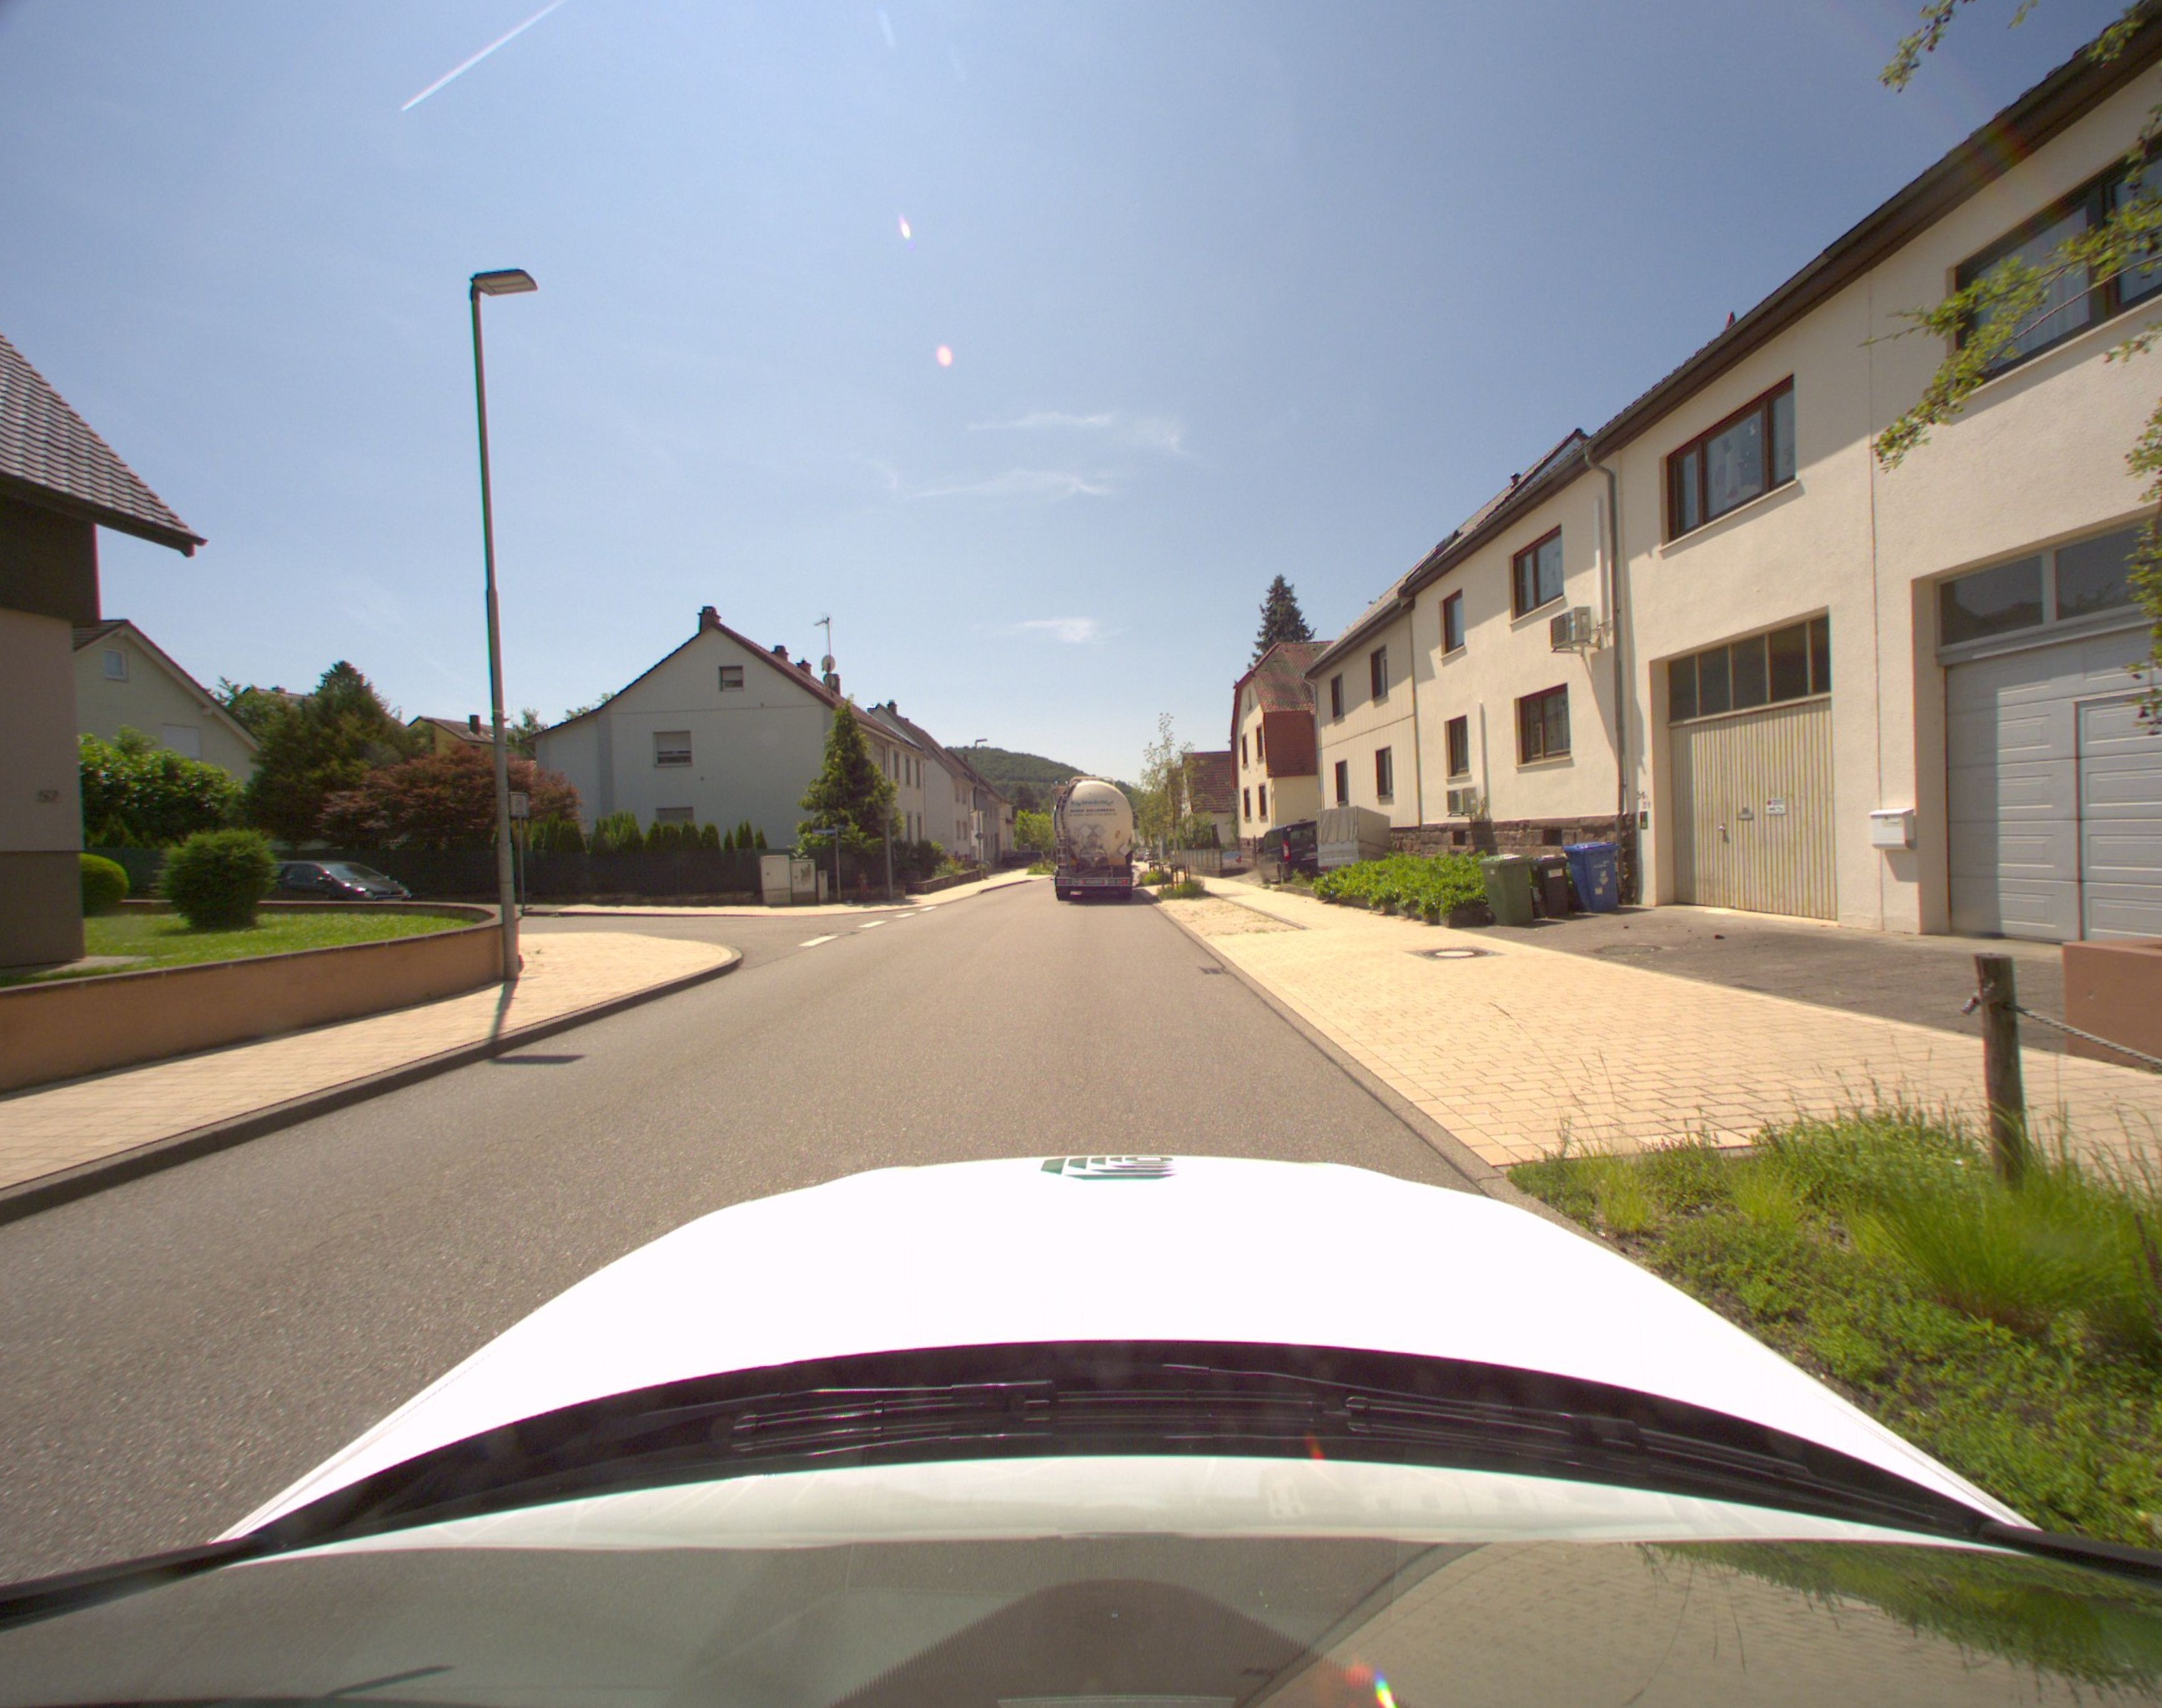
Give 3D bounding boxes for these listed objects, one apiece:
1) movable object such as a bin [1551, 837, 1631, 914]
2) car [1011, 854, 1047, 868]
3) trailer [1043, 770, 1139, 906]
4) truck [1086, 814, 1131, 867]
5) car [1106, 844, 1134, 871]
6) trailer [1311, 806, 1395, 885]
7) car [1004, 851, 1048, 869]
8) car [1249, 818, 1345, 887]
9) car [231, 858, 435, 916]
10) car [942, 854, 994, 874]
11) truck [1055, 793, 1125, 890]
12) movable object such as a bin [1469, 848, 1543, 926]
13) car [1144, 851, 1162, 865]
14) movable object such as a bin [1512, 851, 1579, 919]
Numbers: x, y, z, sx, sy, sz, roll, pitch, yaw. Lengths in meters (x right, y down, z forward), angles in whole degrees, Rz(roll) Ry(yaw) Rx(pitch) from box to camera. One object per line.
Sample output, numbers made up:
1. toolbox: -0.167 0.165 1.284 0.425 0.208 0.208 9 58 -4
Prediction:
1. movable object such as a bin: 7.987 0.330 12.798 0.681 1.106 0.864 -5 -1 7
2. car: -5.707 0.735 89.207 3.505 1.439 1.710 -2 0 35
3. trailer: 0.367 -0.469 29.616 2.786 4.001 10.324 -1 0 1
4. truck: 2.680 -1.255 83.223 3.899 4.895 9.791 -3 0 -1
5. car: 2.867 0.264 61.070 1.986 1.904 4.002 -1 0 2
6. trailer: 7.384 -0.222 22.042 1.308 2.013 2.287 -1 0 43
7. car: -5.758 0.574 85.098 4.380 1.750 1.878 -2 0 0
8. car: 6.995 -0.030 26.936 1.846 1.971 4.774 -4 0 1
9. car: -19.065 0.812 20.847 3.725 1.416 1.754 0 0 5
10. car: -9.193 0.779 66.432 3.973 1.545 1.833 -1 0 1
11. truck: 0.465 -0.501 36.580 2.798 3.937 6.101 -1 0 2
12. movable object such as a bin: 6.626 0.499 12.743 0.680 1.115 0.814 -6 -1 6
13. car: 8.423 0.434 95.435 1.783 1.541 4.522 -1 0 2
14. movable object such as a bin: 7.319 0.477 12.865 0.555 0.986 0.804 -6 -1 7
